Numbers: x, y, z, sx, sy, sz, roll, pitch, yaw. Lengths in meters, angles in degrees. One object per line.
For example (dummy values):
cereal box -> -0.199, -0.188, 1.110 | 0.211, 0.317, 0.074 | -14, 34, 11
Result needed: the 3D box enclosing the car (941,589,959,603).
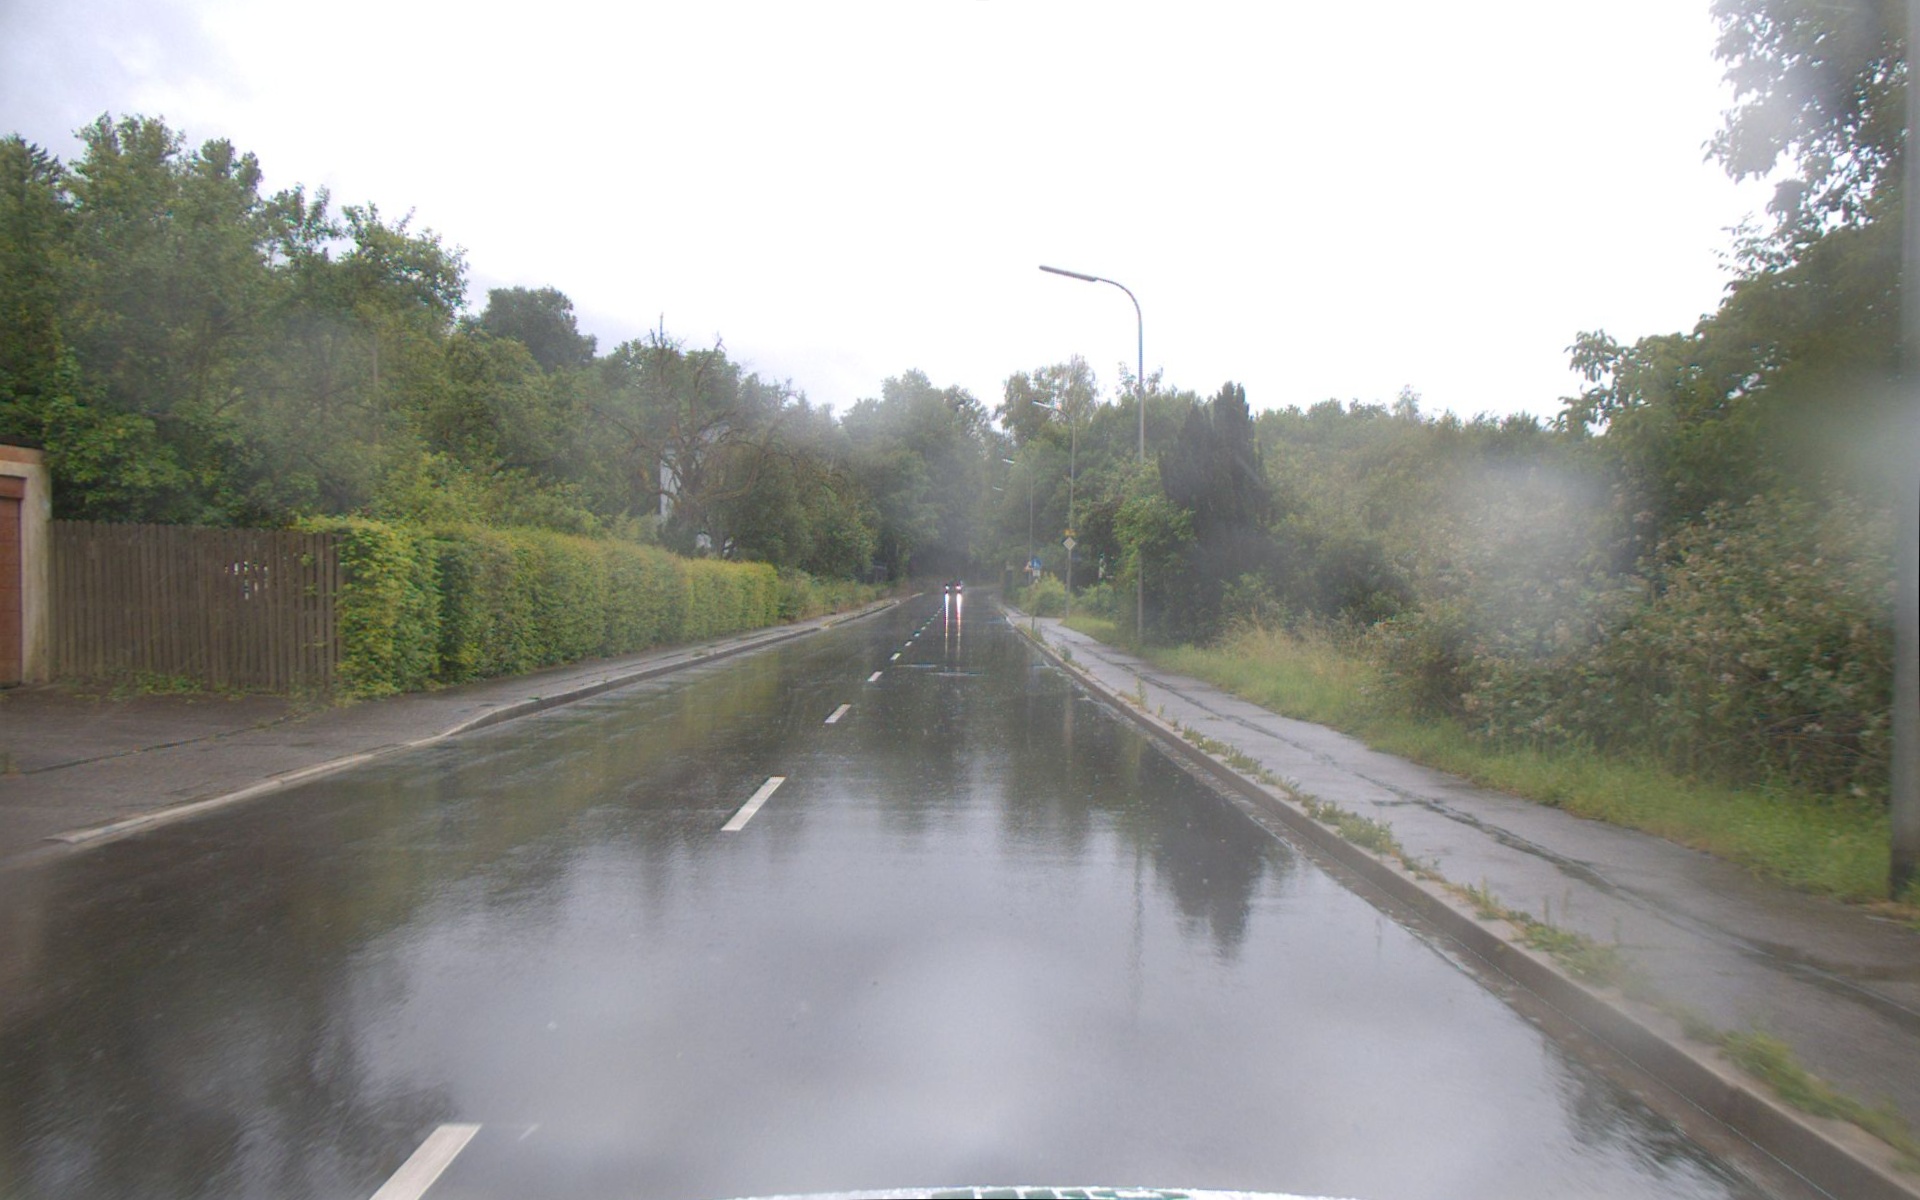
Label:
car -> -1.079, -0.442, 187.406 | 1.952, 1.479, 4.428 | 1, 1, 0
